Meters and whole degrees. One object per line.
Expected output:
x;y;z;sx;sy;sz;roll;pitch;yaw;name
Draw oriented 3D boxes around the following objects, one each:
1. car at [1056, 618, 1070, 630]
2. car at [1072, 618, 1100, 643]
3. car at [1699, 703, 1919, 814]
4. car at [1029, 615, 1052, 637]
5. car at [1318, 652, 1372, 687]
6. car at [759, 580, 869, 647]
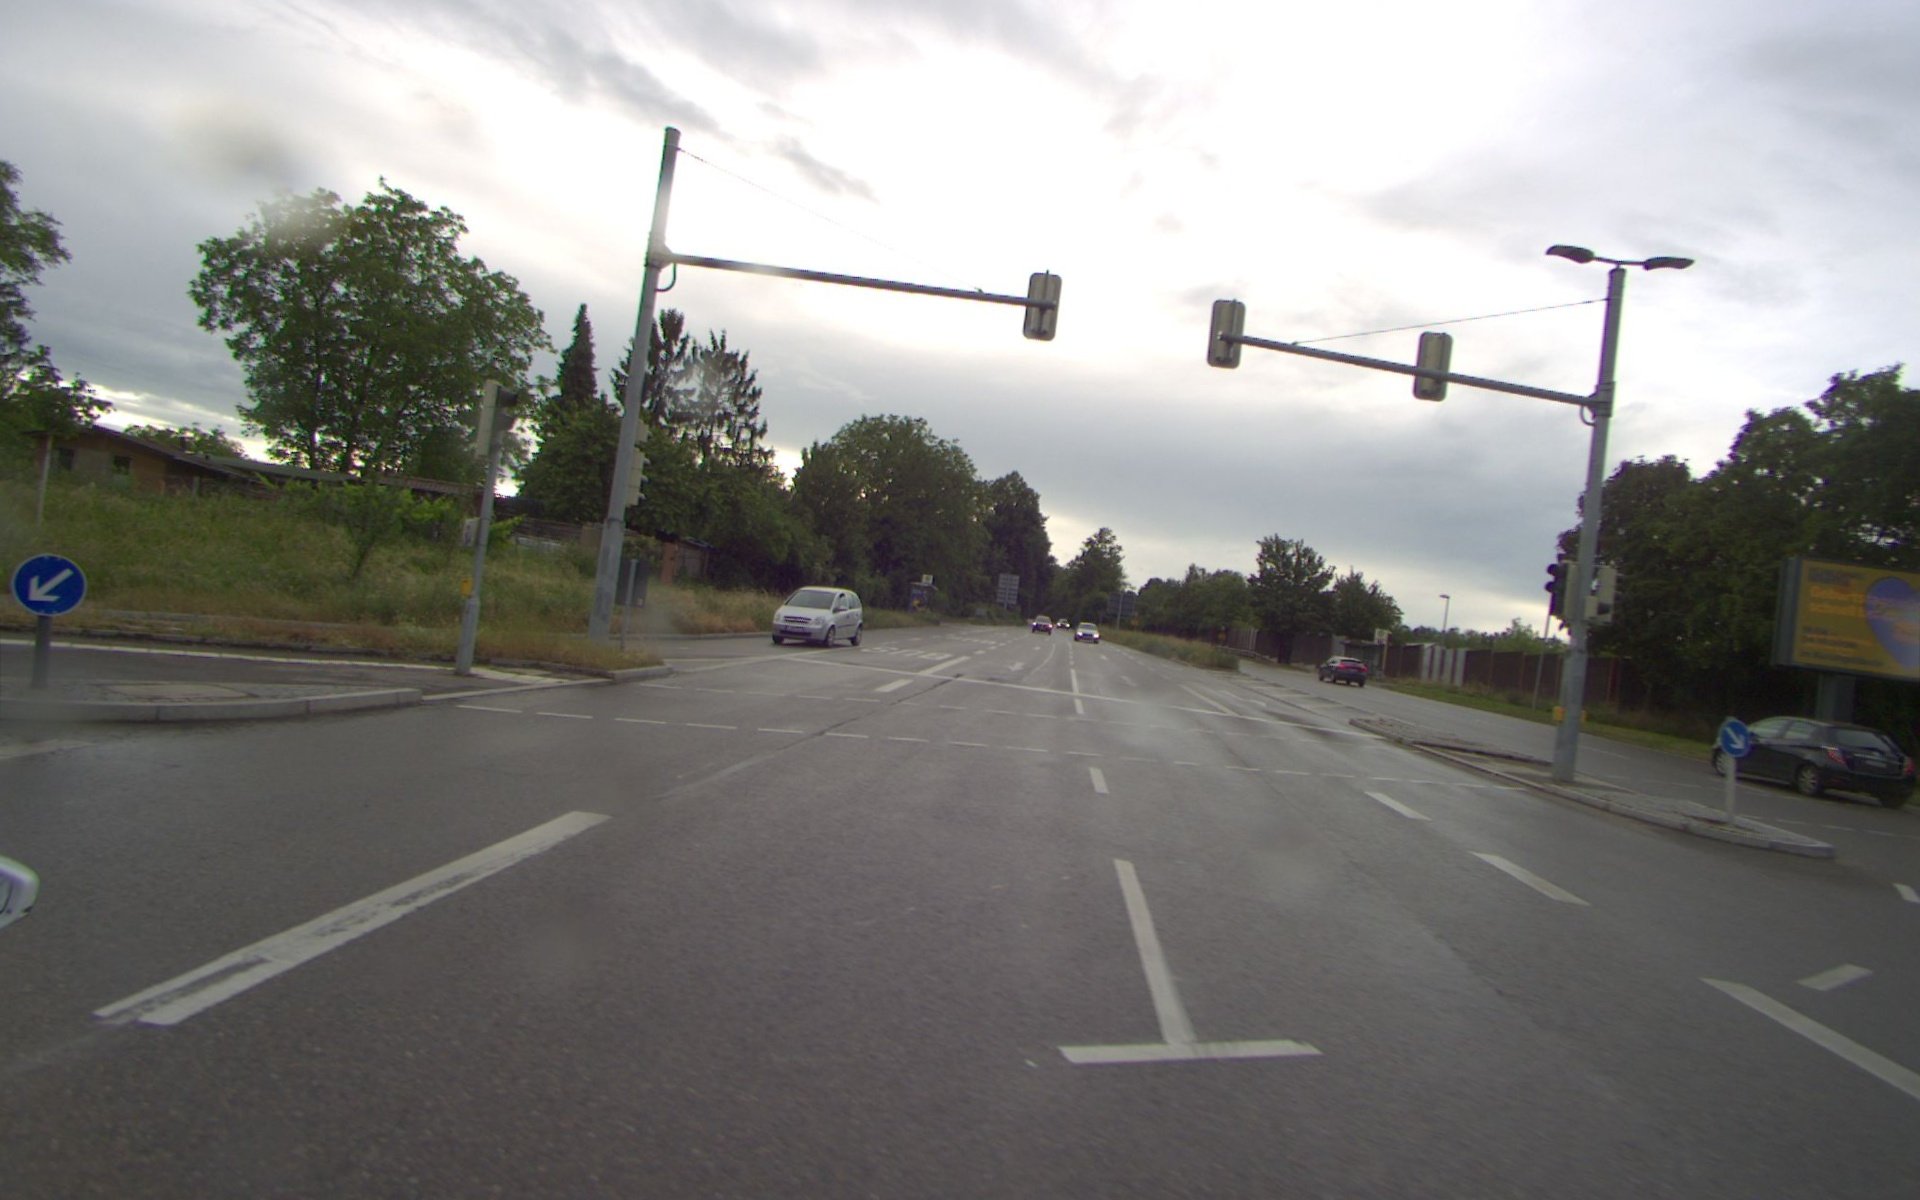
15.414;3.574;150.752;1.845;1.435;4.001;8;0;3;car
9.683;2.330;77.623;1.789;1.694;4.002;8;0;5;car
17.297;3.136;20.536;1.693;1.518;3.828;8;0;6;car
7.286;2.371;90.522;1.789;1.694;4.012;8;0;6;car
21.159;3.782;55.479;1.693;1.518;3.828;8;0;6;car
-4.047;0.430;28.633;1.788;1.624;4.066;5;-1;10;car
